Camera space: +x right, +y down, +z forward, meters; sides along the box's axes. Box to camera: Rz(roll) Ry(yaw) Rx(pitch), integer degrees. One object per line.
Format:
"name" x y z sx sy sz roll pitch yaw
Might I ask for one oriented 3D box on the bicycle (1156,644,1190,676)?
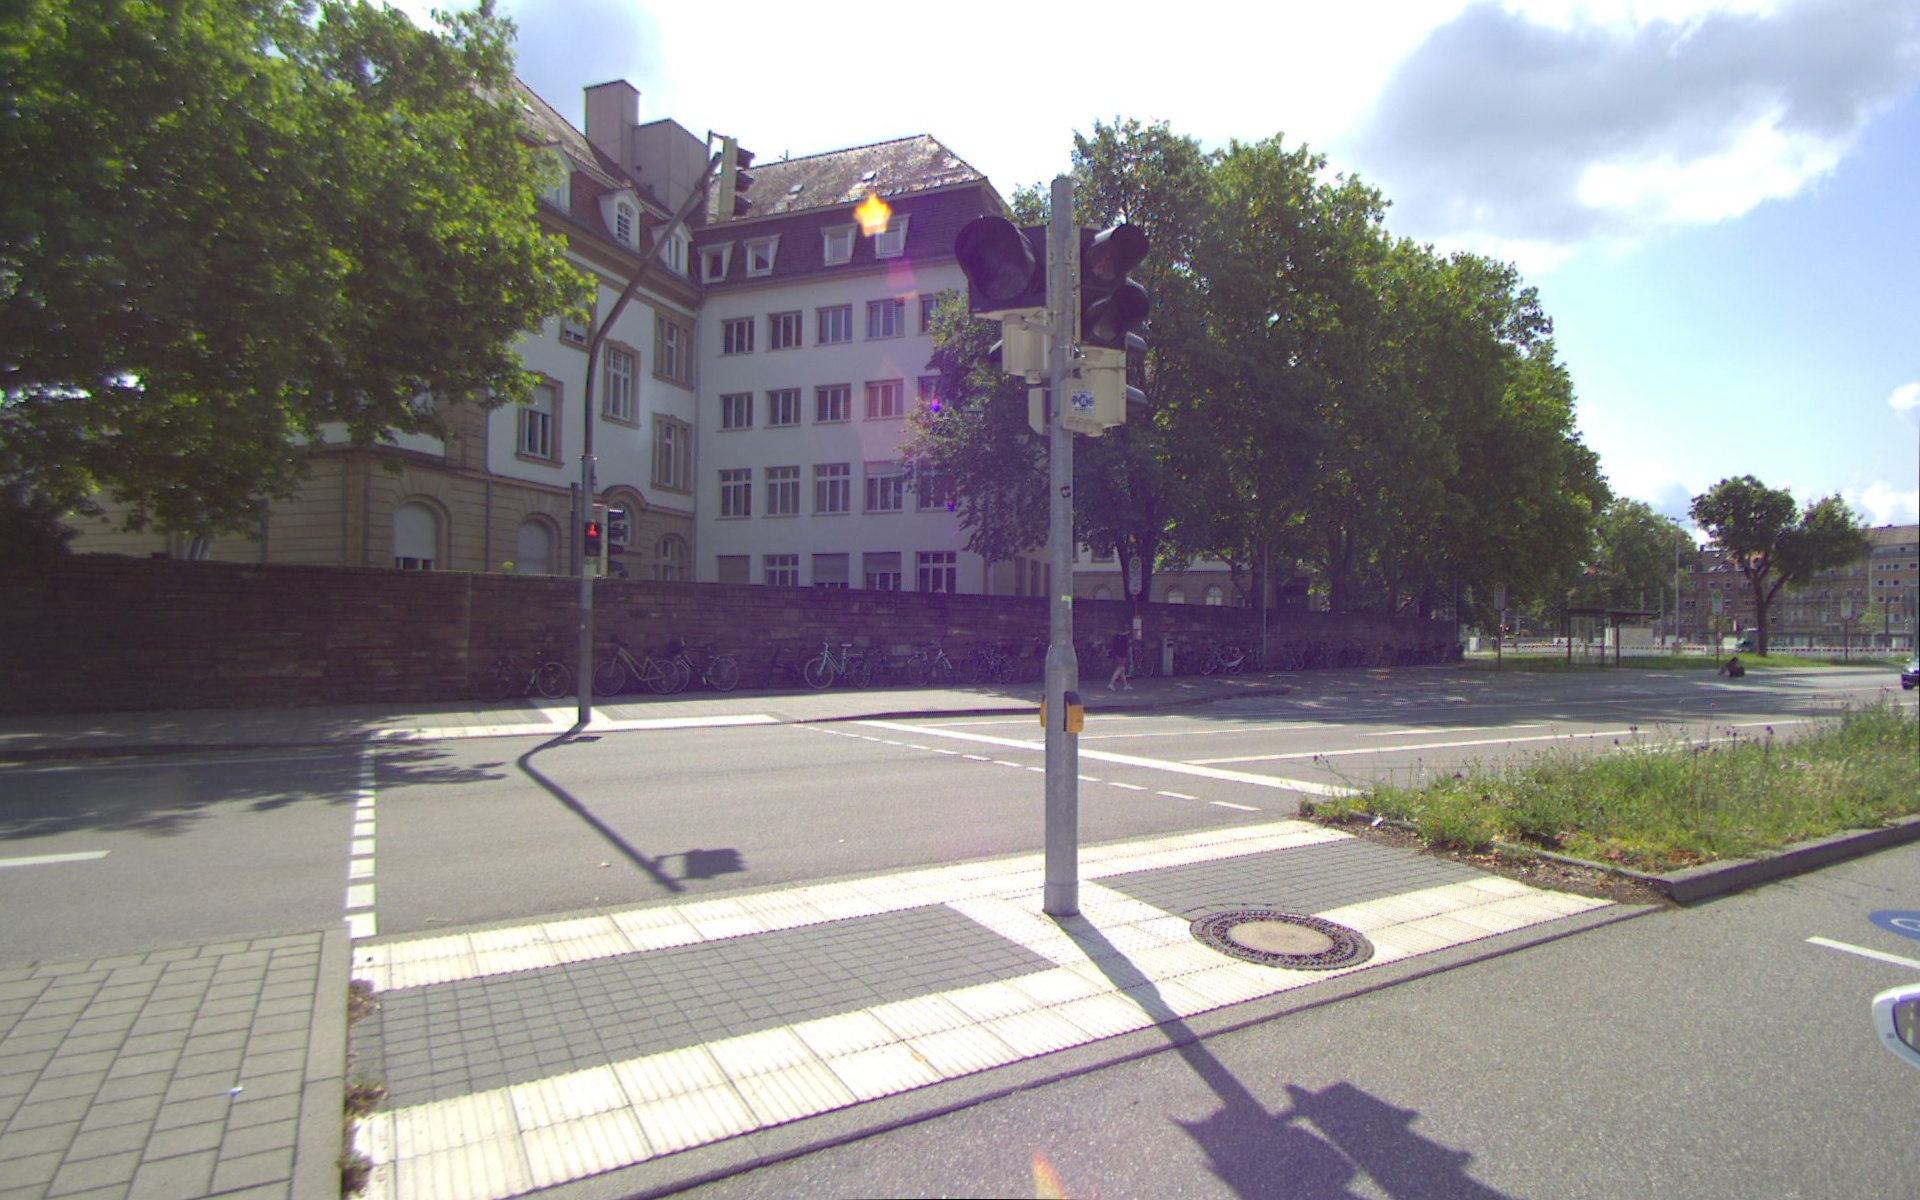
"bicycle" 6.632 1.844 31.209 0.362 0.968 1.394 0 -2 43

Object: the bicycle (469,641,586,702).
"bicycle" -7.935 1.291 18.466 1.866 1.062 0.624 2 -2 -41

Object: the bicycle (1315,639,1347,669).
"bicycle" 14.379 2.081 38.923 0.576 1.087 1.746 0 -2 42

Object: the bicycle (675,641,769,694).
"bicycle" -4.964 1.397 21.064 1.866 1.062 0.559 2 -2 -41

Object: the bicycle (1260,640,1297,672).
"bicycle" 11.321 1.978 35.663 0.576 1.087 1.746 0 -2 43

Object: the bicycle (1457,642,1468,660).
"bicycle" 29.807 3.030 59.614 0.348 1.024 1.249 0 -1 38

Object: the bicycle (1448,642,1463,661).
"bicycle" 28.172 2.909 57.100 0.465 1.024 1.450 0 -2 38

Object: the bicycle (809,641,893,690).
"bicycle" -2.439 1.452 22.554 1.866 1.062 0.586 2 -2 -41

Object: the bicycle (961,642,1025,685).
"bicycle" 0.854 1.601 25.595 1.866 1.062 0.369 2 -2 -41

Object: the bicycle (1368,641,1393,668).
"bicycle" 18.071 2.331 43.187 0.575 1.087 1.749 0 -1 37

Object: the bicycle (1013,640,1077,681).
"bicycle" 2.317 1.622 27.202 1.866 1.062 0.575 2 -2 -41

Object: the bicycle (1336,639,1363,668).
"bicycle" 15.629 2.137 40.291 0.575 1.087 1.749 0 -1 37

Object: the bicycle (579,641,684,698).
"bicycle" -6.430 1.344 19.724 1.866 1.062 0.624 2 -2 -41

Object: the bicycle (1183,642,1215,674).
"bicycle" 7.669 1.852 32.190 0.362 0.968 1.394 0 -2 43

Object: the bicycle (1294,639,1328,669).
"bicycle" 13.130 2.006 37.547 0.576 1.087 1.746 0 -2 43

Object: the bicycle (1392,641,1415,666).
"bicycle" 20.378 2.434 46.136 0.575 1.087 1.625 0 -1 37

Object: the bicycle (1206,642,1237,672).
"bicycle" 8.669 1.871 33.259 0.362 0.968 1.394 0 -2 43

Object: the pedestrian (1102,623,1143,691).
"pedestrian" 4.018 1.404 24.881 0.738 1.631 0.651 2 0 -39

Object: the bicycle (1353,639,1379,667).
"bicycle" 16.826 2.188 41.637 0.575 1.087 1.749 0 -1 37

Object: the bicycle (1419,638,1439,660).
"bicycle" 23.453 2.431 50.252 0.575 1.087 1.625 0 -1 37

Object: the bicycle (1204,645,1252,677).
"bicycle" 8.488 1.929 31.806 1.601 0.968 0.365 1 -1 -23

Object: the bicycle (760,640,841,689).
"bicycle" -3.539 1.423 22.387 1.866 1.062 0.367 2 -2 -41

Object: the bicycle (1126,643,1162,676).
"bicycle" 5.536 1.773 30.131 0.362 0.968 1.394 0 -2 43

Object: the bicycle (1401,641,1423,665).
"bicycle" 21.367 2.515 47.485 0.575 1.087 1.625 0 -1 37

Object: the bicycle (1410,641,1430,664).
"bicycle" 22.373 2.552 48.841 0.575 1.087 1.625 0 -1 37

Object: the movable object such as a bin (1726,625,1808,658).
"movable object such as a bin" 74.285 3.818 92.525 5.430 2.922 2.290 1 -2 13

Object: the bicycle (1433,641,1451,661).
"bicycle" 25.667 2.681 53.468 0.465 1.024 1.956 0 -2 38

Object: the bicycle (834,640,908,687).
"bicycle" -2.065 1.474 23.611 1.866 1.062 0.367 2 -2 -41

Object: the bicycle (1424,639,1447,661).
"bicycle" 24.549 2.554 51.798 0.575 1.087 1.860 0 -2 42

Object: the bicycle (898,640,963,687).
"bicycle" -0.696 1.516 24.345 0.584 1.062 1.876 0 -2 34

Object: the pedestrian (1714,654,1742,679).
"pedestrian" 31.316 2.725 40.959 0.735 0.975 0.690 2 -1 -32

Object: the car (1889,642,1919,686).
"car" 33.630 2.169 34.329 4.099 1.464 1.692 2 -3 -32

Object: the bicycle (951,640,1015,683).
"bicycle" 0.595 1.575 25.888 1.866 1.062 0.390 2 -2 -41

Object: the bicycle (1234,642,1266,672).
"bicycle" 9.910 1.933 34.317 0.366 0.968 1.618 0 -2 43

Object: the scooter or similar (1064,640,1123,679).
"scooter or similar" 3.788 1.684 28.475 1.866 1.062 0.575 2 -2 -41
